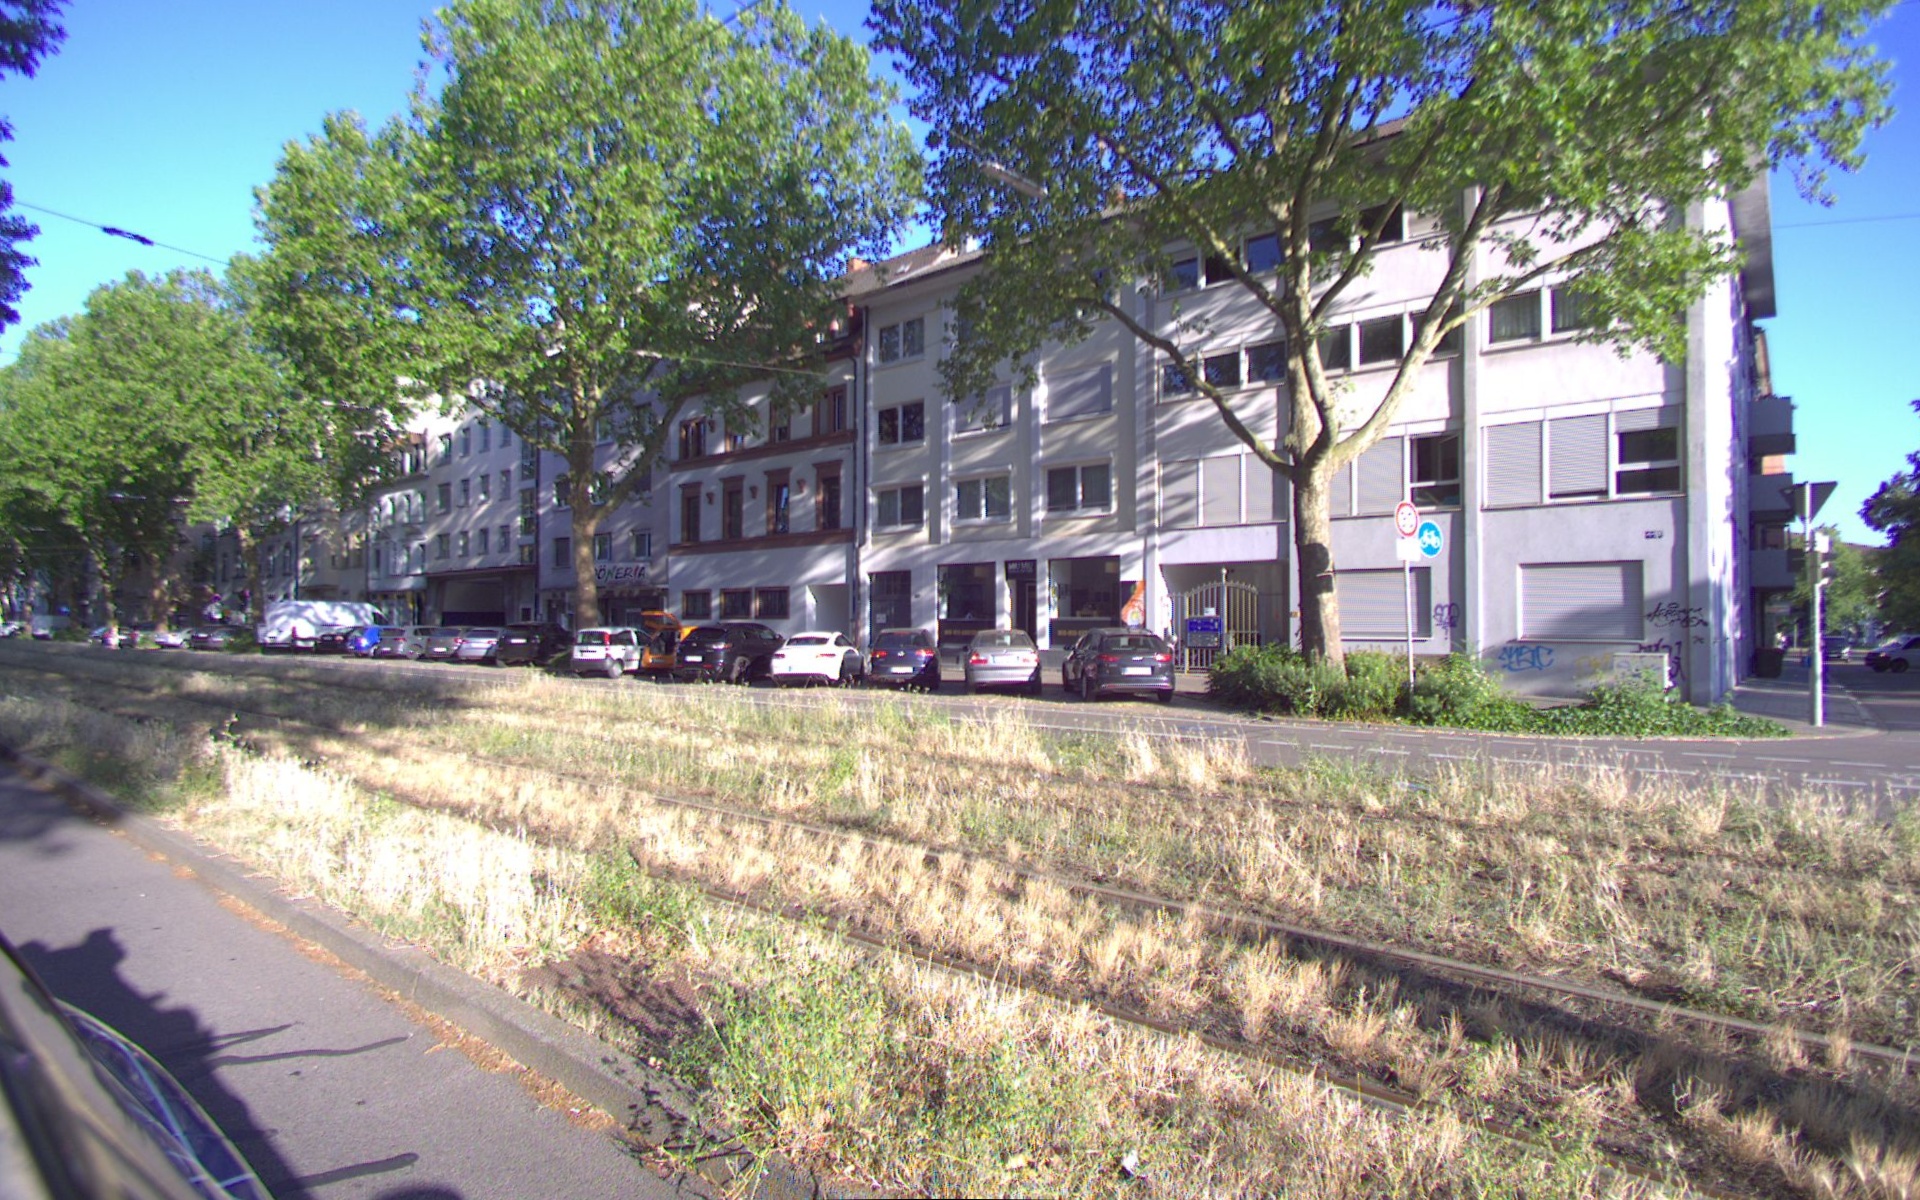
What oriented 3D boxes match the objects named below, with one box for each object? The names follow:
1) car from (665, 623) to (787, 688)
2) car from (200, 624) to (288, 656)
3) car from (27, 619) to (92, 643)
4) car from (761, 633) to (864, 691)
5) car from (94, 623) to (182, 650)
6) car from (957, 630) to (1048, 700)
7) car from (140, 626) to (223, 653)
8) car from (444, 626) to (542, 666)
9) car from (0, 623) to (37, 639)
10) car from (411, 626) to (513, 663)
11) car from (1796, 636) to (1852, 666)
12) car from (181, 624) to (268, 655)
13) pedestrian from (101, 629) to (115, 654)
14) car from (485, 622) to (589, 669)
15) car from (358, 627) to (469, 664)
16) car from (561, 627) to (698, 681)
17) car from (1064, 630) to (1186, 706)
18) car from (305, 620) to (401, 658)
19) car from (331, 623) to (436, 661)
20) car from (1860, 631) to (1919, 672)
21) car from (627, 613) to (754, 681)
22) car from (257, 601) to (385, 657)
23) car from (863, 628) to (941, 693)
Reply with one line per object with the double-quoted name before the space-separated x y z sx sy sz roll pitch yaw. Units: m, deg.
"car" -6.475 1.502 28.517 2.126 1.697 4.250 0 -2 6
"car" -42.524 2.374 60.215 1.980 1.830 3.982 0 -2 13
"car" -88.303 3.025 99.341 2.071 2.230 4.943 0 -2 -2
"car" -3.769 1.573 26.631 2.123 1.388 4.257 0 -2 0
"car" -54.720 2.424 67.432 1.996 1.719 4.184 -1 -2 36
"car" 0.888 1.432 23.322 1.717 1.443 3.973 -1 -2 -2
"car" -51.835 2.602 67.478 1.980 1.719 3.982 0 -2 13
"car" -18.102 1.757 39.463 1.582 1.470 4.251 0 -2 4
"car" -106.861 3.494 114.200 3.937 1.827 1.876 2 -2 -40
"car" -20.438 1.807 41.773 1.883 1.468 4.251 0 -2 4
"car" 62.814 3.687 73.680 1.991 2.029 5.371 -1 -2 29
"car" -45.119 2.429 62.210 1.980 1.830 3.982 0 -2 13
"pedestrian" -55.134 2.664 65.495 0.422 1.610 0.612 -1 -2 41
"car" -15.377 1.630 37.068 1.882 1.626 4.253 0 -2 3
"car" -23.829 1.945 44.252 1.985 1.530 3.973 0 -2 20
"car" -10.240 1.634 31.674 1.634 1.569 4.221 -1 -2 25
"car" 3.328 1.346 21.154 1.746 1.443 3.973 0 -2 -2
"car" -30.620 1.956 51.194 1.980 1.830 3.982 0 -2 13
"car" -26.258 1.892 46.223 1.980 1.630 3.982 0 -2 13
"car" 49.337 2.586 51.134 5.372 2.029 1.991 0 -2 14
"car" -8.341 1.433 31.680 1.508 1.958 4.221 -1 -2 25
"car" -33.078 1.513 52.606 2.161 2.721 5.583 0 -2 16
"car" -1.437 1.464 25.616 1.805 1.516 3.973 0 -2 -2
